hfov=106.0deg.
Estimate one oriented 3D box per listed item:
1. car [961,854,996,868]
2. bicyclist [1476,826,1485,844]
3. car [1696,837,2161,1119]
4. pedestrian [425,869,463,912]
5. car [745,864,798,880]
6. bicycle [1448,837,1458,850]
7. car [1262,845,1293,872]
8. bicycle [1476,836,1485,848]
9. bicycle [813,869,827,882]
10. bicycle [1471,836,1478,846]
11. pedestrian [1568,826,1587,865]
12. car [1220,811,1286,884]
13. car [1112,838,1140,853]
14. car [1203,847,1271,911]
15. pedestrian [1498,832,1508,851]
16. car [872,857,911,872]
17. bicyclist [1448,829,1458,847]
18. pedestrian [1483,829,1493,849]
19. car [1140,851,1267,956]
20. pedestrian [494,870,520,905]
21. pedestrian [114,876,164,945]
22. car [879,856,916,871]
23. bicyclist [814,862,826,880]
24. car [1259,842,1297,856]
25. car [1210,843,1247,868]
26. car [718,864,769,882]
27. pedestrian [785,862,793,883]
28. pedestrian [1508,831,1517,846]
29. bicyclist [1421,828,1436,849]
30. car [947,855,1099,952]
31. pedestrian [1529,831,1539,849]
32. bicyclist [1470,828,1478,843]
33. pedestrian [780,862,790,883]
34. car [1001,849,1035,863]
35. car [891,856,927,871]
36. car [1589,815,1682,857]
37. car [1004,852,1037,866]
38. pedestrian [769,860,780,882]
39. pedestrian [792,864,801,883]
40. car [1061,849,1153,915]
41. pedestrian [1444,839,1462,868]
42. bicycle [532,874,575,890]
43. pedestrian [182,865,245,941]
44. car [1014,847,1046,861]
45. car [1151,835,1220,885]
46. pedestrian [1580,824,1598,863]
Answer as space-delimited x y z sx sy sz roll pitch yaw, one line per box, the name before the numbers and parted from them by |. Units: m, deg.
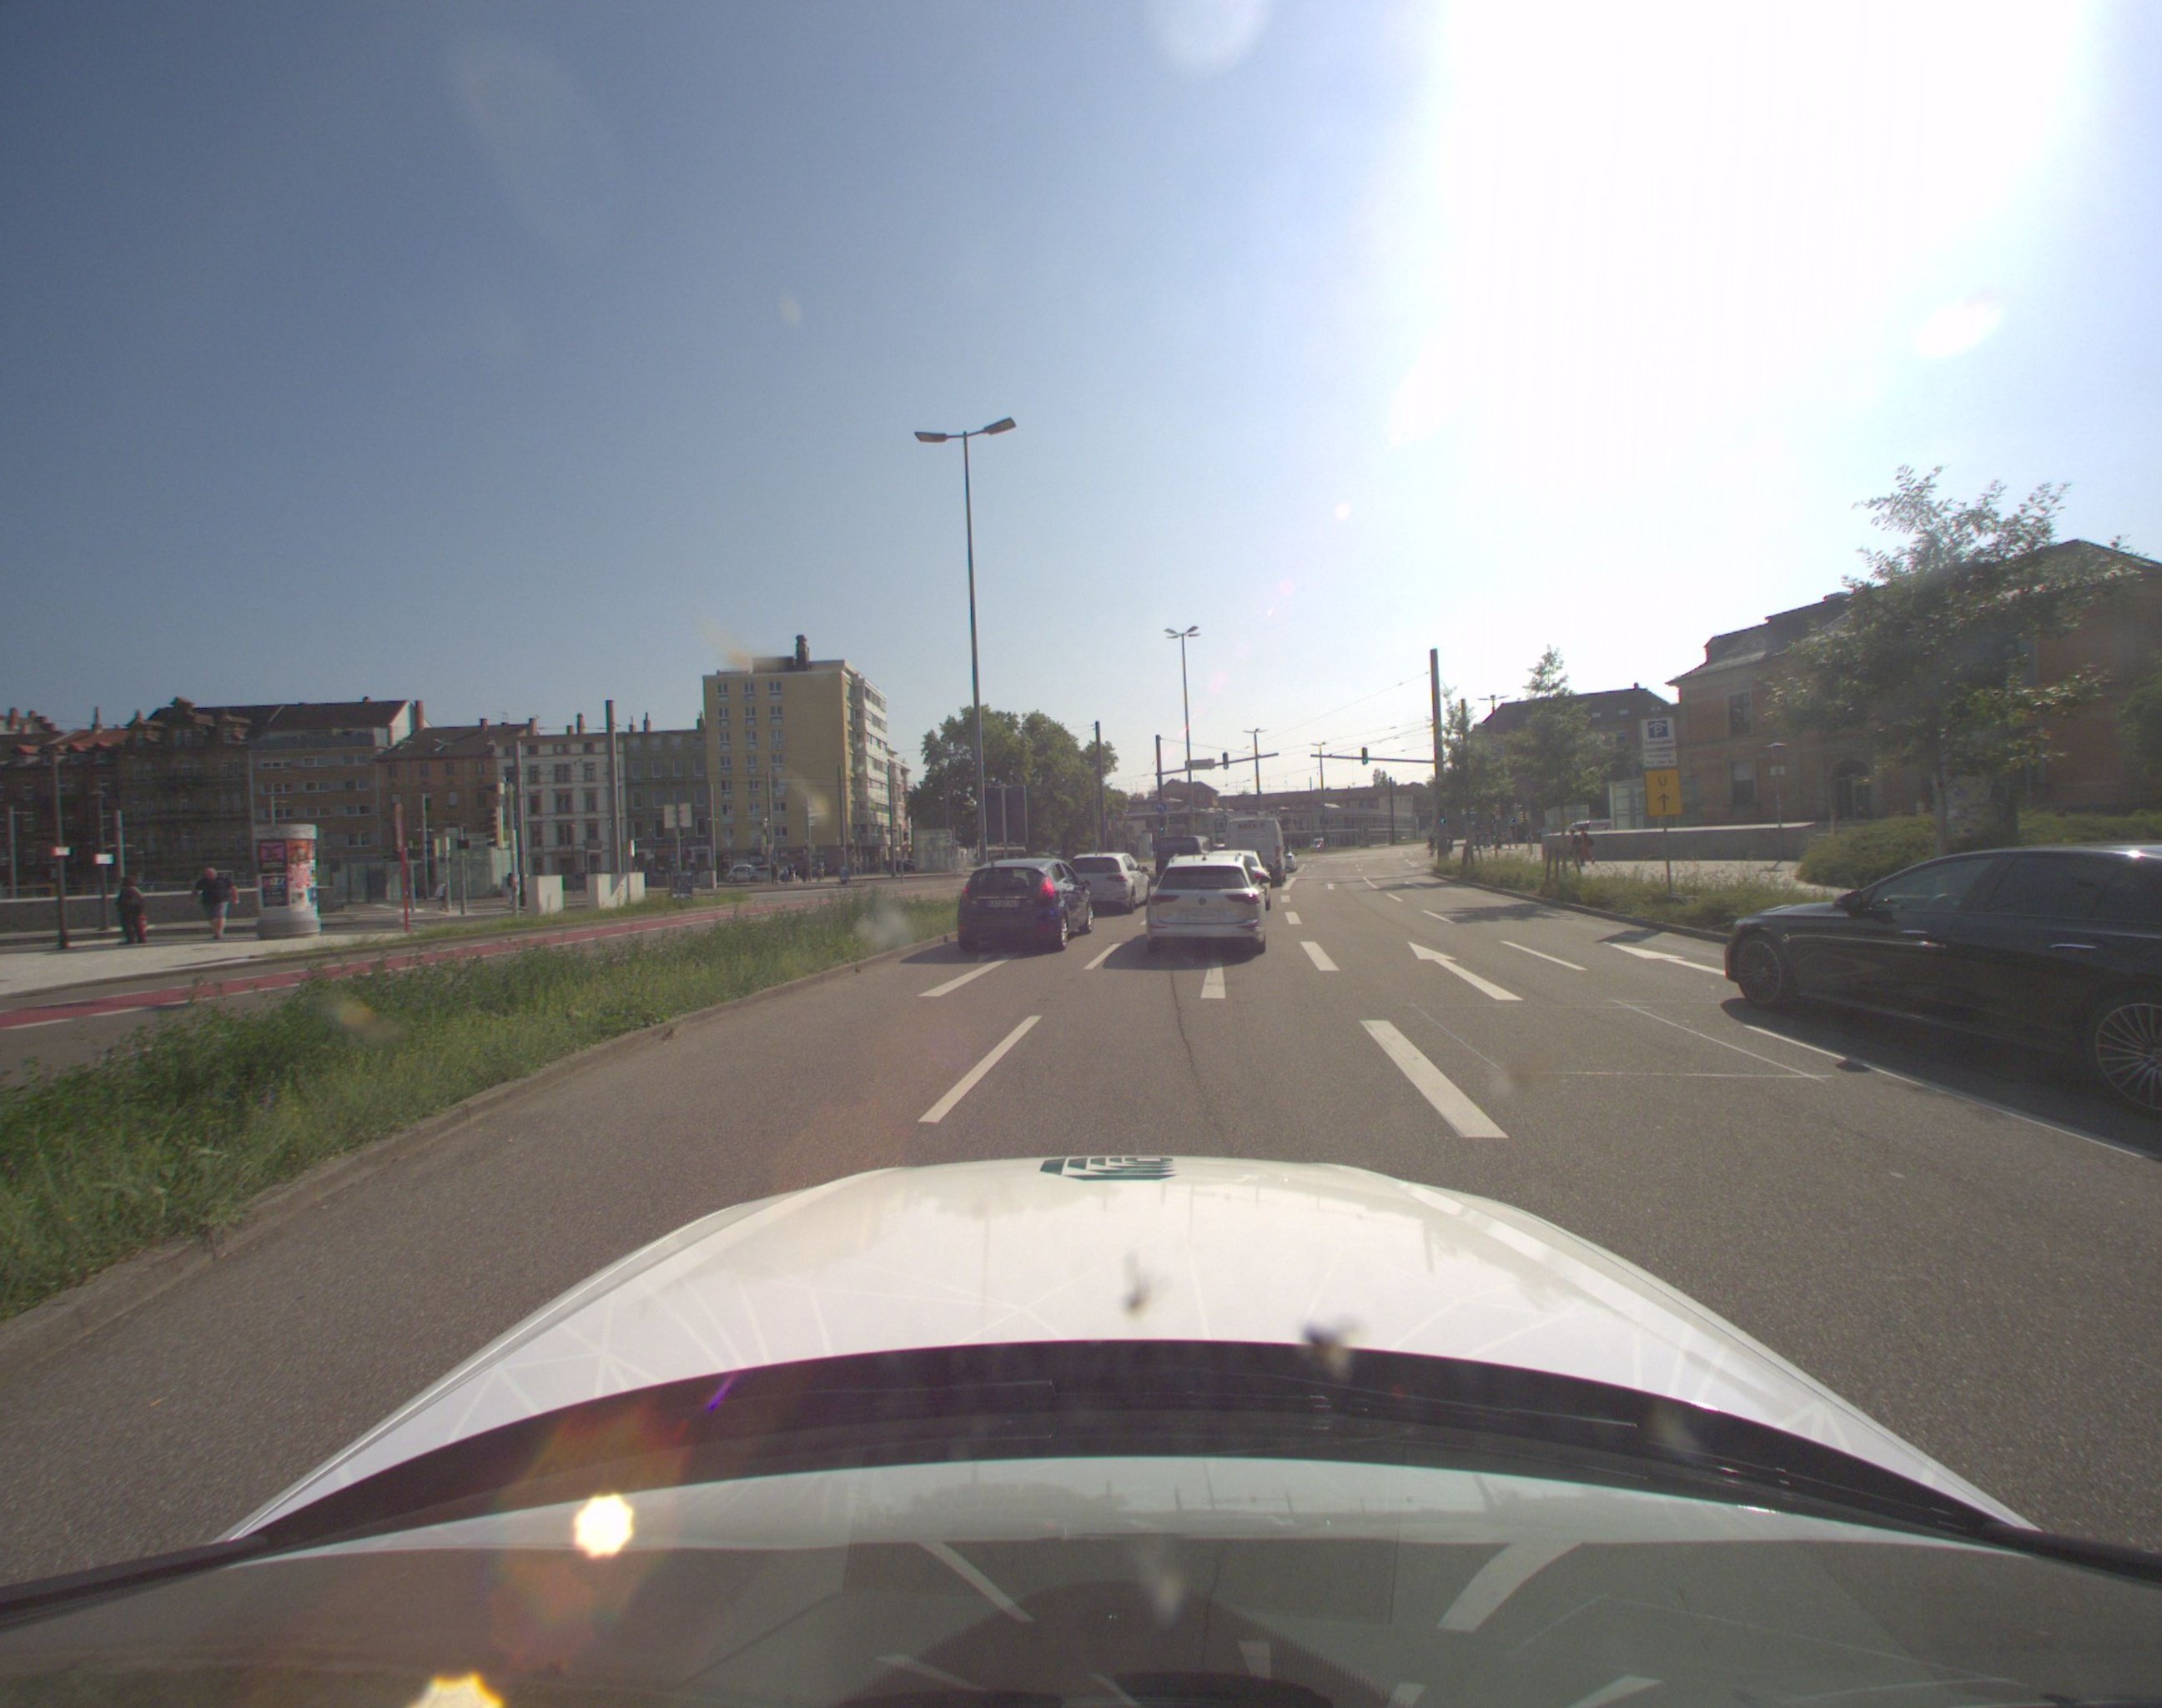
car | -12.723 0.838 101.187 3.976 1.557 1.727 -2 0 -2
bicyclist | 41.171 -1.923 83.978 0.739 1.785 1.120 -3 0 26
car | 6.678 0.627 5.522 1.810 1.440 4.884 -1 0 7
pedestrian | -31.612 1.781 40.433 0.955 2.013 1.022 -2 2 -1
car | -26.118 1.561 68.826 3.821 1.180 1.574 -2 -1 -4
bicycle | 31.954 -0.908 69.990 0.699 1.061 1.994 -2 0 26
car | 11.066 0.219 45.787 1.625 1.403 3.701 -2 0 14
bicycle | 41.191 -1.211 83.990 0.739 1.148 2.884 -3 0 26
bicycle | -21.182 1.702 66.118 0.726 0.984 1.729 -2 0 -5
bicycle | 48.547 -1.625 100.533 0.732 1.217 2.259 -3 0 26
pedestrian | 21.069 -0.354 34.537 0.608 1.639 0.537 -3 0 32
car | 6.736 -0.233 31.464 2.172 2.549 4.702 -2 0 15
car | 6.892 -1.325 125.026 3.962 2.013 2.006 -2 3 10
car | 3.990 0.563 20.545 1.479 1.402 3.956 -2 0 13
pedestrian | 36.692 -1.090 70.827 0.739 1.529 0.811 -3 0 26
car | -21.731 1.200 93.647 3.974 1.557 1.869 -2 3 0
bicyclist | 31.959 -1.386 70.032 0.706 1.529 0.811 -3 0 26
pedestrian | 38.632 -1.397 77.351 0.796 1.888 0.753 -3 0 26
car | 2.057 0.682 12.844 1.673 1.387 3.647 -2 0 13
pedestrian | -30.876 1.805 43.832 0.830 1.819 0.778 -1 -2 -1
pedestrian | -22.170 1.321 19.174 0.494 1.579 0.510 -2 3 14
car | -21.699 1.147 96.324 3.929 1.557 1.794 -3 0 0
bicyclist | -21.193 1.362 66.096 0.724 1.434 0.689 -2 0 -5
car | 22.277 -0.547 92.300 3.945 1.342 1.934 -3 0 7
car | 9.468 0.088 52.138 1.609 1.502 4.109 -2 0 20
car | -29.713 1.700 71.795 3.726 1.393 1.586 -2 0 -1
pedestrian | -23.726 1.477 66.160 0.458 1.684 0.435 -4 3 -39
pedestrian | 39.926 -1.461 75.334 0.651 1.360 0.663 -1 2 29
bicyclist | 26.376 -1.182 61.821 0.767 1.578 0.994 -2 0 11
car | -0.826 0.740 14.049 1.691 1.368 3.974 -2 0 9
pedestrian | 36.368 -1.112 65.346 0.651 1.360 0.663 -1 2 29
bicyclist | 48.505 -2.274 100.518 0.739 1.829 0.811 -3 0 26
pedestrian | -23.678 1.483 65.088 0.451 1.684 0.549 -2 2 11
car | -7.932 0.265 103.008 3.970 1.618 1.815 -3 0 3
car | -21.303 1.156 100.850 3.976 1.557 1.868 -3 0 -2
car | 29.816 -1.002 43.803 3.983 2.013 1.750 -3 3 -7
car | -7.819 0.657 105.043 3.970 1.618 1.815 -3 0 3
pedestrian | -24.379 1.372 64.737 0.450 1.684 0.550 -1 3 24
pedestrian | -23.265 1.588 66.537 0.501 1.487 0.435 -4 3 -39
car | 0.740 0.641 20.367 1.478 1.415 3.663 -2 1 15
pedestrian | 18.336 -0.024 40.178 0.632 1.362 0.635 -2 0 9
bicycle | -51.486 2.774 79.433 3.521 1.347 0.774 -2 2 -3
pedestrian | -22.066 1.219 20.736 0.886 1.818 0.885 -4 3 -39
car | -6.701 -0.008 107.300 3.976 1.557 1.727 -2 0 -2
car | 4.599 0.223 35.241 2.007 2.008 4.706 -2 0 19
pedestrian | 21.680 -0.438 34.749 0.608 1.628 0.537 -3 0 33
